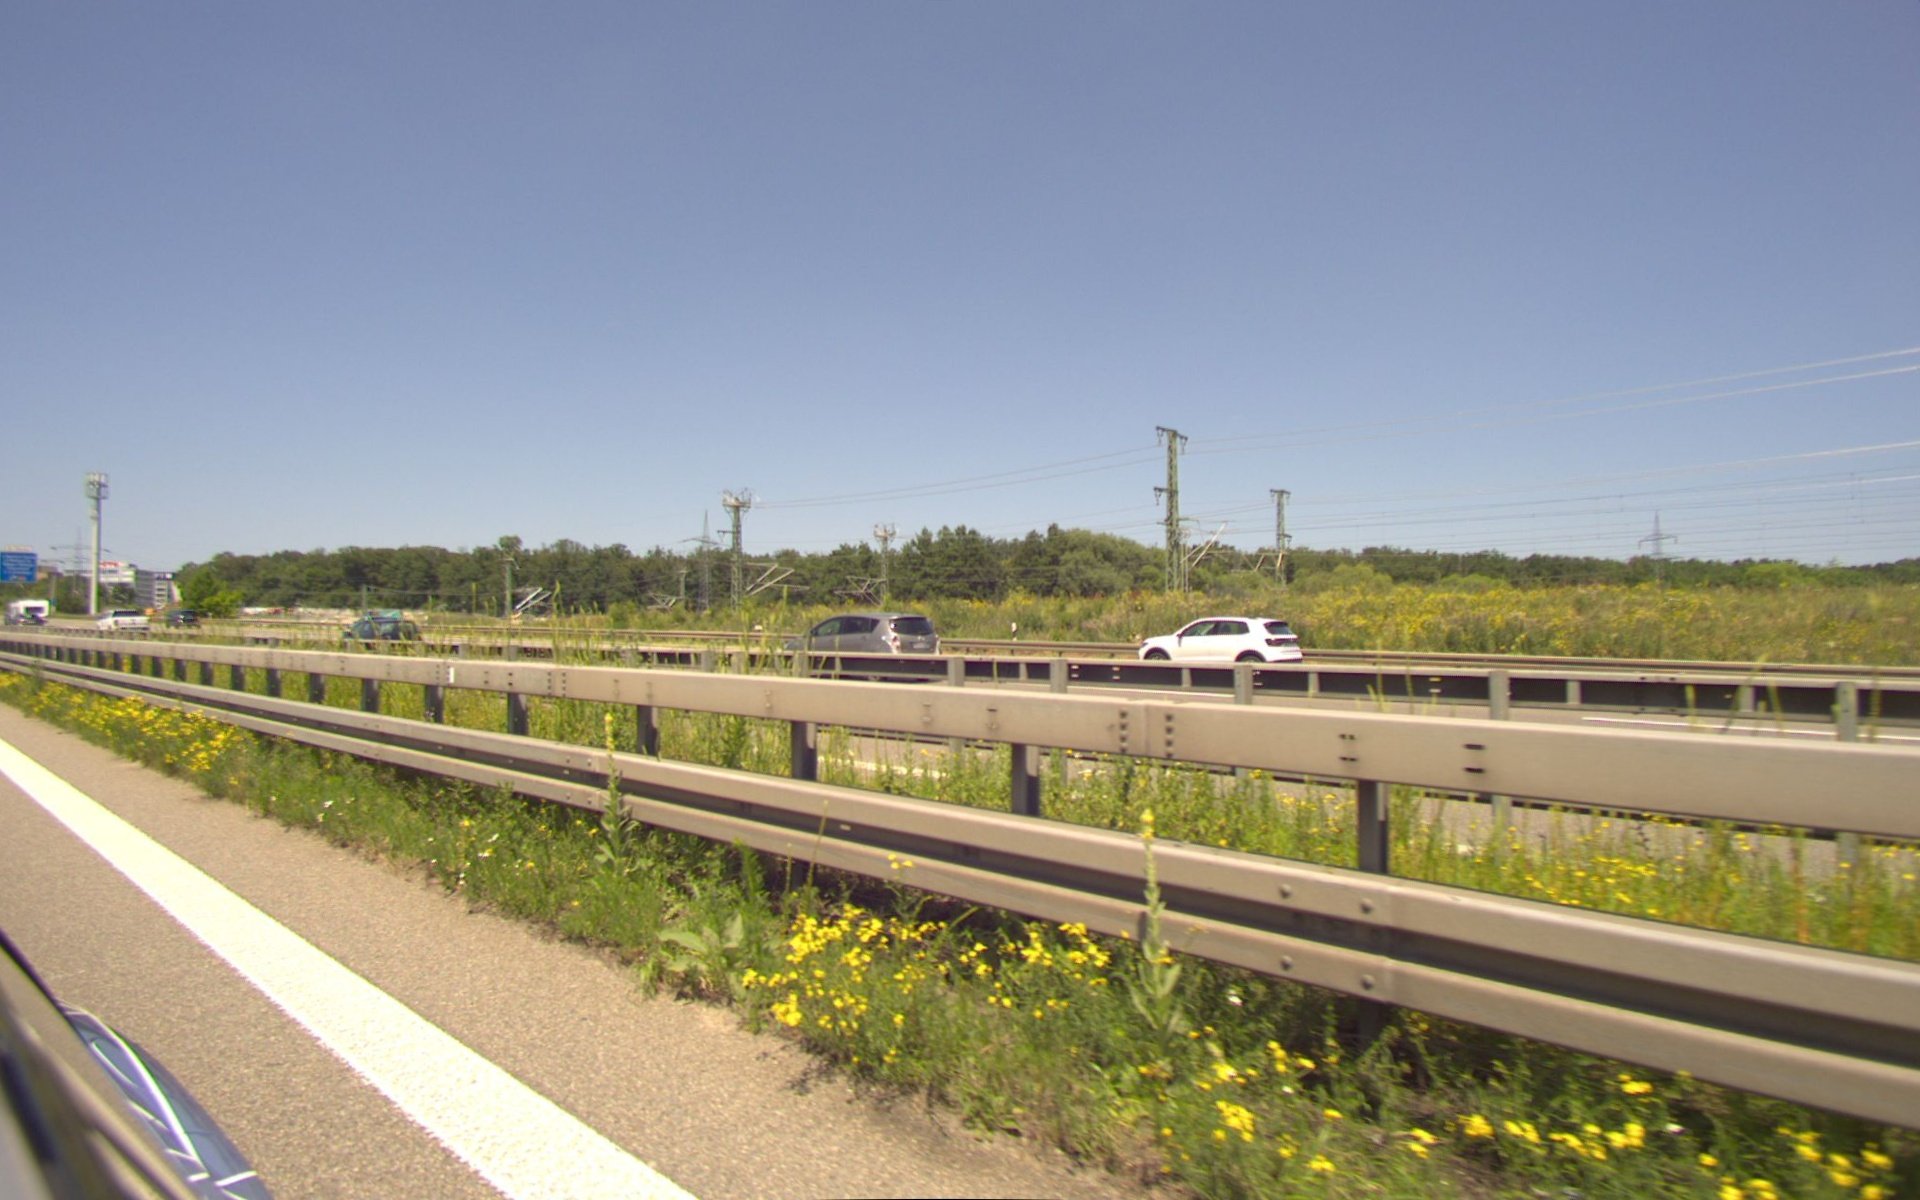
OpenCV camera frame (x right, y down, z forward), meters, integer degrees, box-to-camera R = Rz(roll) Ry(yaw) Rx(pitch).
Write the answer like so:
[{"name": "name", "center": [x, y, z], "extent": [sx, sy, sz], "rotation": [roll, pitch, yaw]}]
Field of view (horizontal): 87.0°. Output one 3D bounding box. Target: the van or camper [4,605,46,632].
[{"name": "van or camper", "center": [-96.281, 1.881, 104.151], "extent": [7.599, 2.677, 2.313], "rotation": [-1, -1, 40]}]

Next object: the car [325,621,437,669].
[{"name": "car", "center": [-19.567, 1.467, 34.145], "extent": [4.474, 1.495, 1.909], "rotation": [-1, -1, 41]}]

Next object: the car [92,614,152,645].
[{"name": "car", "center": [-51.758, 1.791, 62.464], "extent": [5.595, 1.844, 1.973], "rotation": [-1, -1, 41]}]

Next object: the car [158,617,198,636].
[{"name": "car", "center": [-69.706, 2.361, 90.139], "extent": [4.932, 1.609, 1.972], "rotation": [-1, -1, 42]}]

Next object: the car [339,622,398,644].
[{"name": "car", "center": [-37.090, 2.047, 63.419], "extent": [4.160, 1.321, 1.973], "rotation": [-1, -1, 41]}]

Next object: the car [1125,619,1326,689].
[{"name": "car", "center": [6.568, 1.284, 25.334], "extent": [4.475, 1.588, 1.972], "rotation": [-1, -1, 42]}]

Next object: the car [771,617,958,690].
[{"name": "car", "center": [-2.356, 1.199, 24.233], "extent": [4.475, 1.588, 1.972], "rotation": [-1, -1, 42]}]

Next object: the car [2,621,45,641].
[{"name": "car", "center": [-75.650, 2.470, 81.721], "extent": [4.546, 1.586, 1.973], "rotation": [-1, -1, 40]}]
